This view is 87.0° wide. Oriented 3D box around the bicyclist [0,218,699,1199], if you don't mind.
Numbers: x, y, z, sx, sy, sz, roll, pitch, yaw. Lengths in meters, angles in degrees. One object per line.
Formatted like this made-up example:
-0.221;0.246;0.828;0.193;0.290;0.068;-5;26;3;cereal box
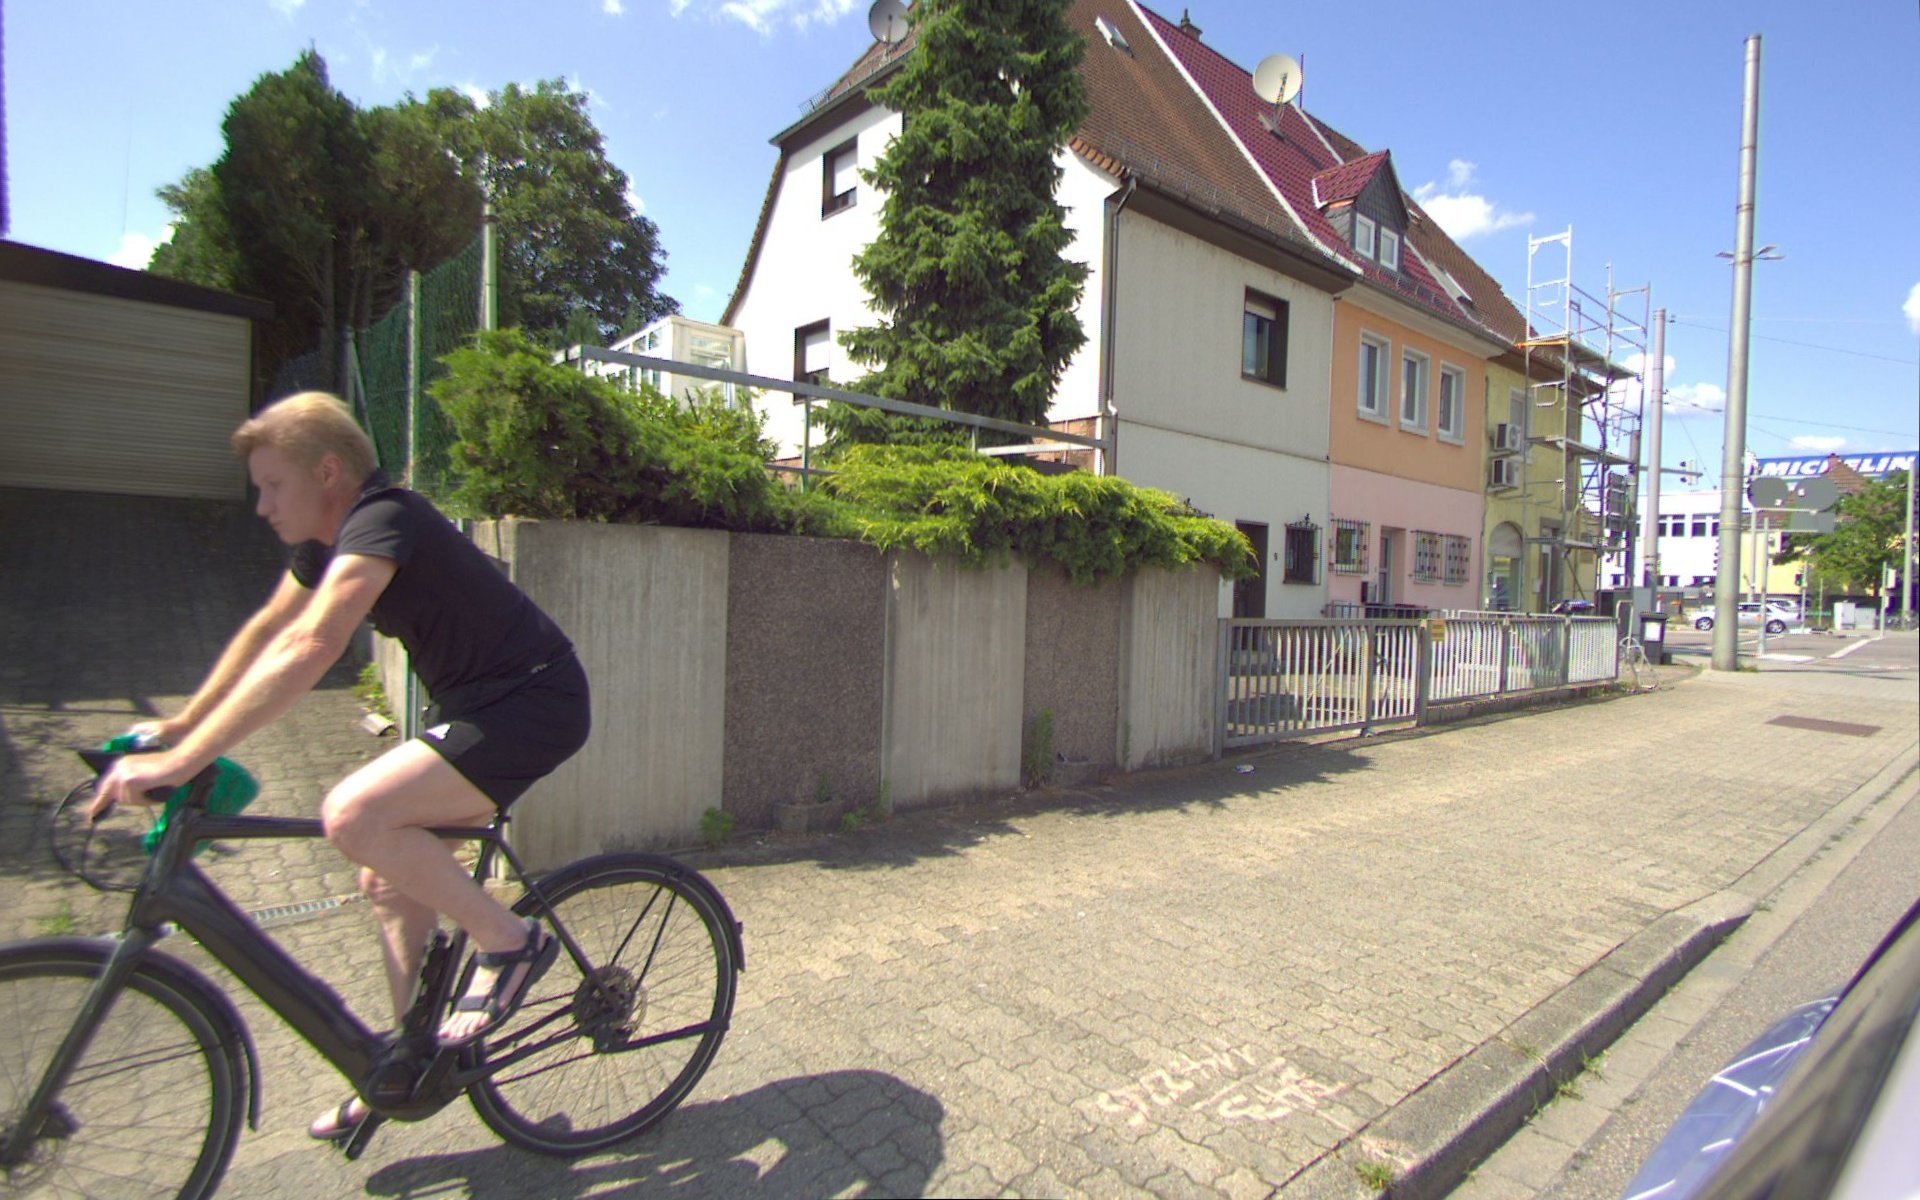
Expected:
-1.251;0.357;2.091;1.065;1.816;0.830;1;2;-41;bicyclist

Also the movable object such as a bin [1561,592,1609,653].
11.733;0.408;18.996;0.840;1.119;0.512;0;1;-41;movable object such as a bin

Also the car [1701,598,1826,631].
37.529;0.667;47.425;4.432;1.415;1.705;1;0;34;car

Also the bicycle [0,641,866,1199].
-1.247;0.678;2.113;1.936;1.088;0.830;1;2;-41;bicycle

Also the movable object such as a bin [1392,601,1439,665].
7.077;0.498;15.717;0.548;0.958;0.469;0;2;-41;movable object such as a bin

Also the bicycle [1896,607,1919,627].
49.908;0.868;52.814;1.722;1.031;0.463;0;0;-1;bicycle

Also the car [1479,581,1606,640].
16.954;0.263;29.370;4.059;1.616;1.997;0;1;-41;car

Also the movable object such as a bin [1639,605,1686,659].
12.591;0.565;18.138;0.728;0.930;0.512;0;1;-41;movable object such as a bin

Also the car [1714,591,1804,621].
48.004;0.349;60.865;4.105;1.617;1.772;2;1;43;car

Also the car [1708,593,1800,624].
46.264;0.469;59.002;4.105;1.617;1.772;2;1;43;car

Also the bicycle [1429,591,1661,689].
8.174;0.511;14.299;0.679;1.133;2.731;0;3;-41;bicycle

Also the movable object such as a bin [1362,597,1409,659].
6.764;0.434;16.095;0.548;0.958;0.469;0;2;-41;movable object such as a bin

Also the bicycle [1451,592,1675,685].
8.724;0.502;14.780;0.772;1.118;2.667;0;3;-41;bicycle
